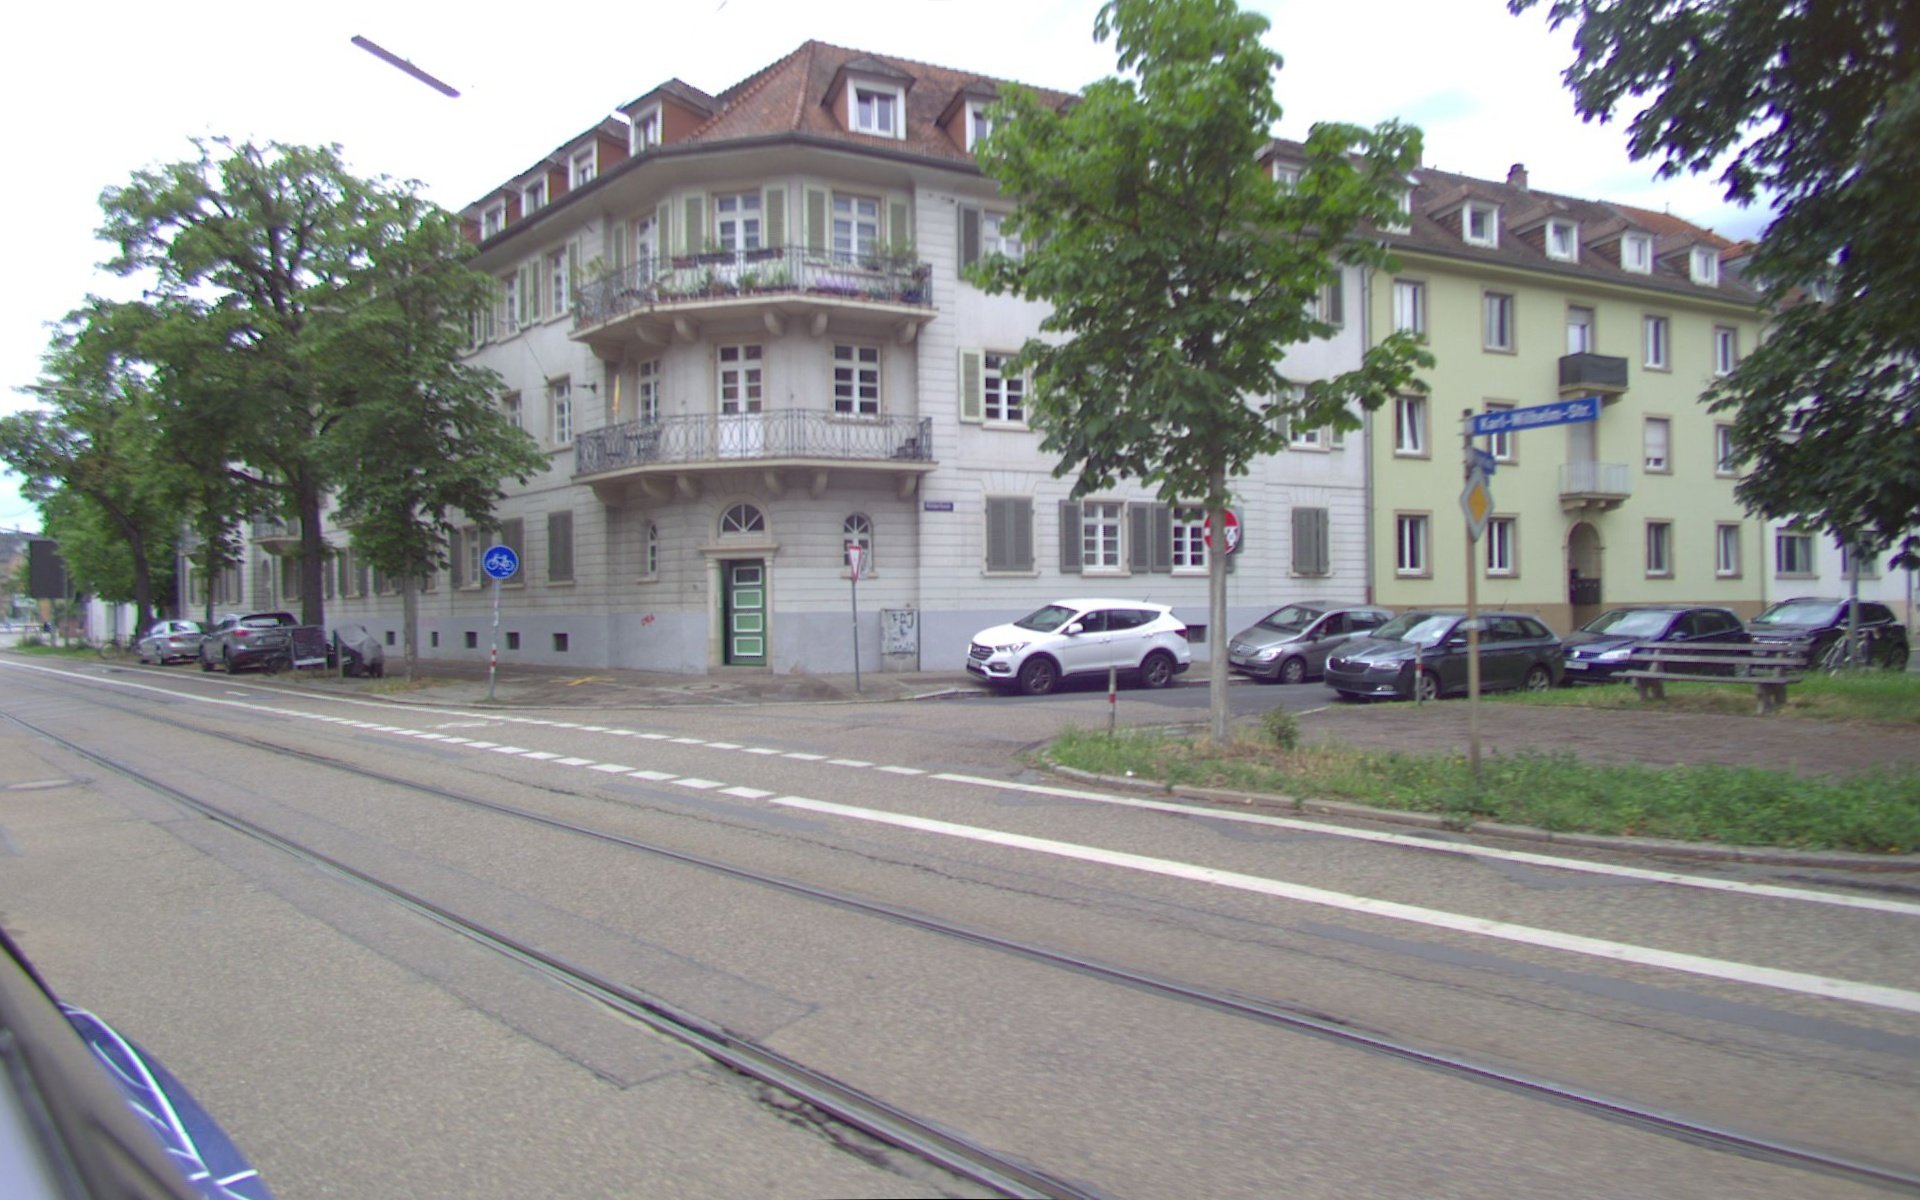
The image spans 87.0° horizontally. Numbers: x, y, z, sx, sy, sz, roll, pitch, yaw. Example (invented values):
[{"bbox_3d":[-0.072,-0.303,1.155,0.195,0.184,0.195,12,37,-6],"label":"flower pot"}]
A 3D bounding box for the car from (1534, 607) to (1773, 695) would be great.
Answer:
[{"bbox_3d":[12.503,0.854,18.247,3.940,1.356,1.671,-1,0,-23],"label":"car"}]

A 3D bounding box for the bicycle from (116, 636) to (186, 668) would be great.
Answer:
[{"bbox_3d":[-29.263,1.858,36.620,0.563,1.035,1.877,-2,0,36],"label":"bicycle"}]

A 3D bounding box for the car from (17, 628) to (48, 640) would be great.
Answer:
[{"bbox_3d":[-119.124,4.361,130.002,1.469,1.520,3.480,-1,-1,-16],"label":"car"}]

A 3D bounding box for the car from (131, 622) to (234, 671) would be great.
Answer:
[{"bbox_3d":[-25.998,1.510,33.778,4.610,1.477,1.793,-2,0,40],"label":"car"}]

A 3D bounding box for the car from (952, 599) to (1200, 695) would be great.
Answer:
[{"bbox_3d":[2.281,0.849,19.882,4.438,1.675,1.945,-1,0,-24],"label":"car"}]

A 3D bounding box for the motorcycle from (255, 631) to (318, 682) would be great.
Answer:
[{"bbox_3d":[-17.495,1.455,26.316,1.270,1.231,0.548,-2,0,-43],"label":"motorcycle"}]

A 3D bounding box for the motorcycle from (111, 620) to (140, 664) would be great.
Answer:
[{"bbox_3d":[-32.069,1.593,38.879,0.822,1.655,2.483,0,-1,-41],"label":"motorcycle"}]

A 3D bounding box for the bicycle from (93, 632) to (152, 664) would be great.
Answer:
[{"bbox_3d":[-33.300,1.899,40.253,1.718,1.137,0.519,-3,0,-31],"label":"bicycle"}]

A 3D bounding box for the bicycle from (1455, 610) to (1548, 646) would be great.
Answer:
[{"bbox_3d":[15.358,0.785,28.689,2.620,0.908,0.822,0,2,-23],"label":"bicycle"}]

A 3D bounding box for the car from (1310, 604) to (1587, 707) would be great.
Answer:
[{"bbox_3d":[7.847,0.825,16.280,4.000,1.421,1.667,-1,0,-20],"label":"car"}]

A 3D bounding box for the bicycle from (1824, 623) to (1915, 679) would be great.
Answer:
[{"bbox_3d":[15.434,0.846,17.171,1.371,0.903,0.582,0,-1,-22],"label":"bicycle"}]

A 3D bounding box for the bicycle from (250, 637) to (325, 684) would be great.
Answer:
[{"bbox_3d":[-16.884,1.502,25.421,0.930,1.012,1.361,-2,2,45],"label":"bicycle"}]

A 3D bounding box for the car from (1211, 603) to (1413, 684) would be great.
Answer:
[{"bbox_3d":[7.657,0.886,22.021,3.978,1.524,1.744,-1,1,-23],"label":"car"}]

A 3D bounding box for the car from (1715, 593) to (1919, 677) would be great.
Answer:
[{"bbox_3d":[17.399,0.656,20.318,4.117,1.491,1.708,-1,0,-23],"label":"car"}]

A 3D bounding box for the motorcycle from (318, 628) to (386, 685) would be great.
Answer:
[{"bbox_3d":[-14.306,1.305,23.776,2.137,1.267,0.535,-2,-1,35],"label":"motorcycle"}]

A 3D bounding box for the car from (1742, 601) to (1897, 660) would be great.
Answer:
[{"bbox_3d":[24.686,0.828,29.062,4.080,1.563,1.778,0,0,-24],"label":"car"}]

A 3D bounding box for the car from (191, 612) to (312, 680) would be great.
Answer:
[{"bbox_3d":[-19.943,1.254,28.414,4.292,1.673,1.818,-2,1,42],"label":"car"}]
